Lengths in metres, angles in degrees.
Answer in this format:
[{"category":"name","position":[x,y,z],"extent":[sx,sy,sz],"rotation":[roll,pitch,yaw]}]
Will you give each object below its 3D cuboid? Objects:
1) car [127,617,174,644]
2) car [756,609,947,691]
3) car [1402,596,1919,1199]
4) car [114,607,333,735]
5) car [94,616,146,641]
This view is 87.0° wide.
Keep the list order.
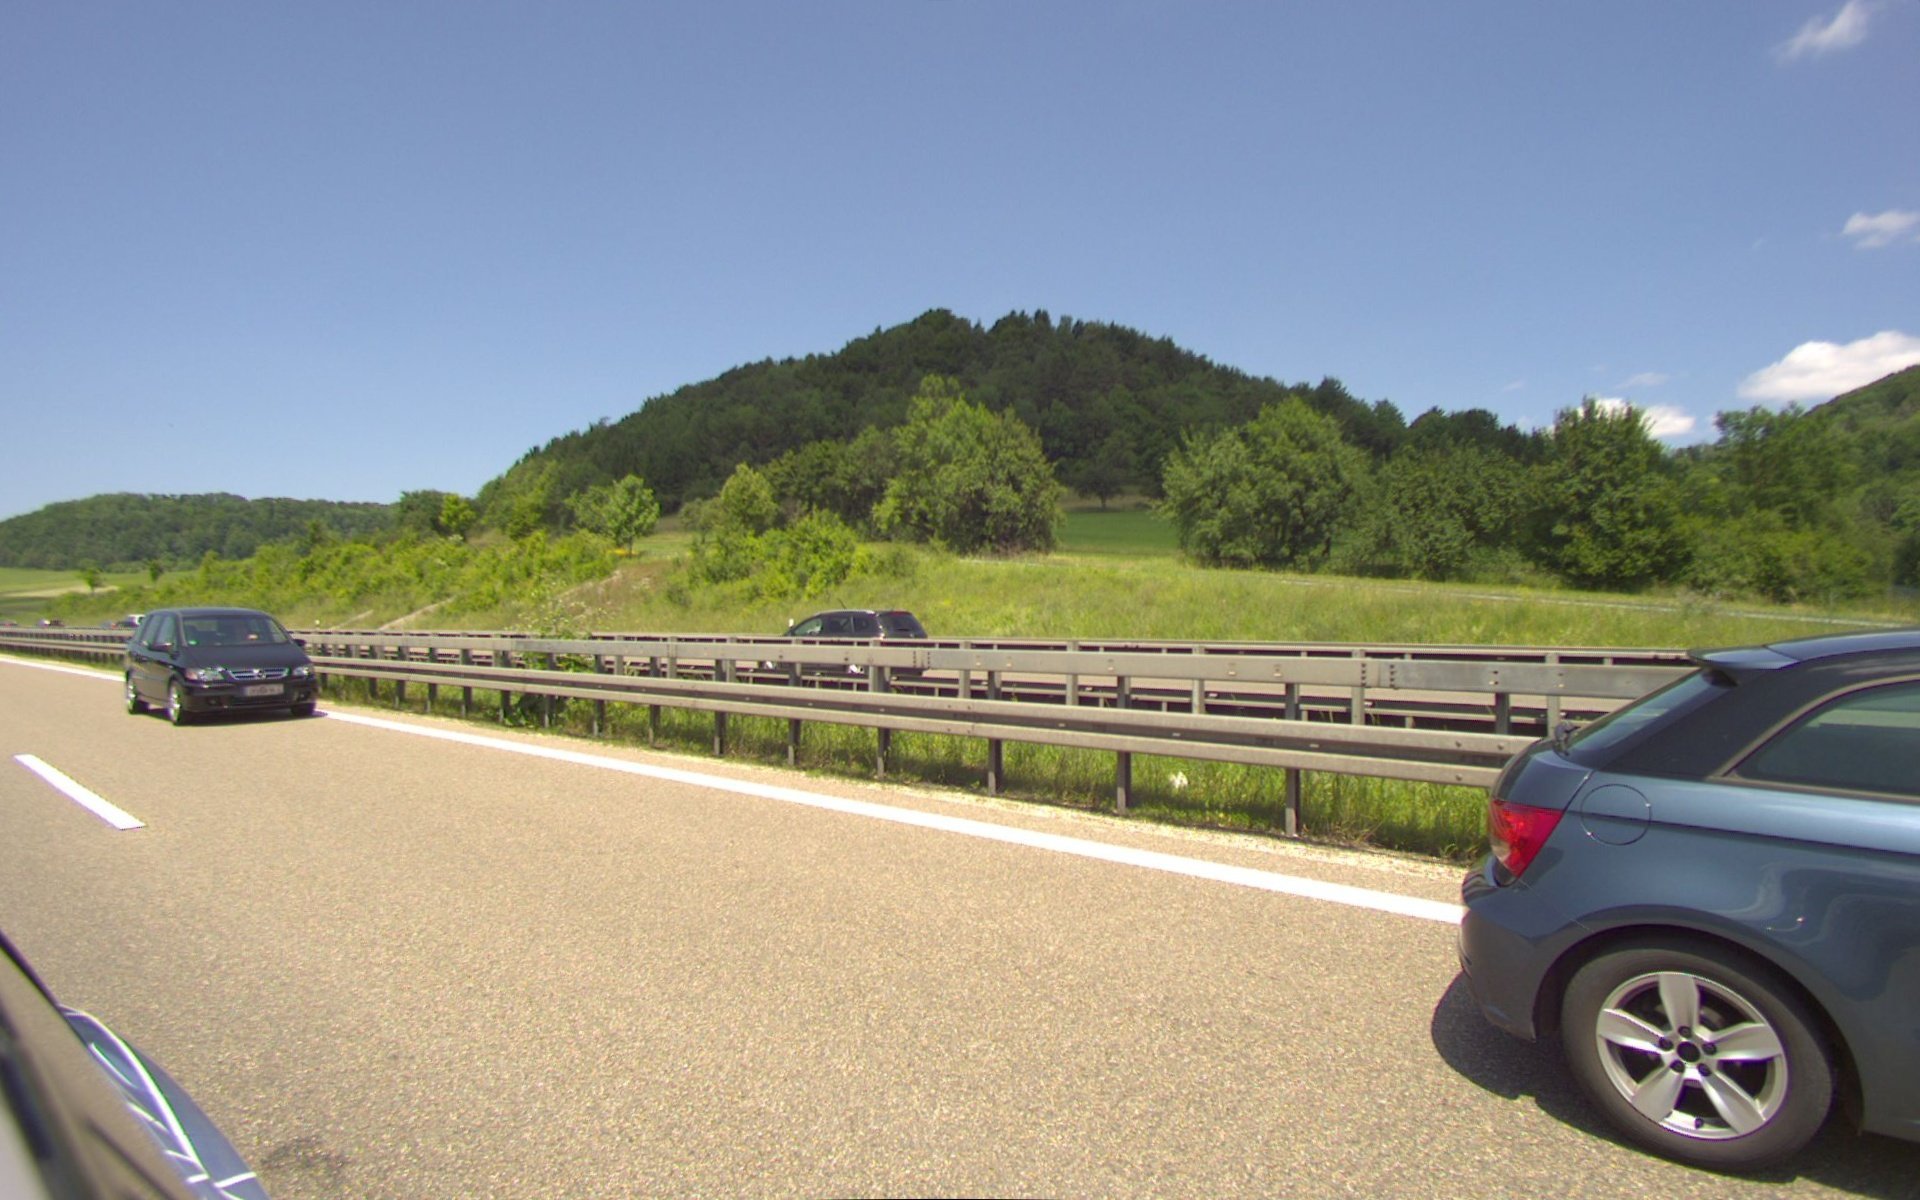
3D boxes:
[{"category":"car","position":[-61.698,2.293,77.109],"extent":[4.657,1.956,2.039],"rotation":[-1,-1,41]},{"category":"car","position":[-2.405,1.022,21.863],"extent":[4.076,1.622,1.830],"rotation":[-1,-1,41]},{"category":"car","position":[3.343,0.682,2.273],"extent":[3.998,1.399,1.671],"rotation":[-1,-1,41]},{"category":"car","position":[-11.143,0.959,15.194],"extent":[4.445,1.647,1.781],"rotation":[-1,-1,42]},{"category":"car","position":[-55.496,1.874,66.841],"extent":[4.518,1.530,1.973],"rotation":[-1,-1,41]}]
